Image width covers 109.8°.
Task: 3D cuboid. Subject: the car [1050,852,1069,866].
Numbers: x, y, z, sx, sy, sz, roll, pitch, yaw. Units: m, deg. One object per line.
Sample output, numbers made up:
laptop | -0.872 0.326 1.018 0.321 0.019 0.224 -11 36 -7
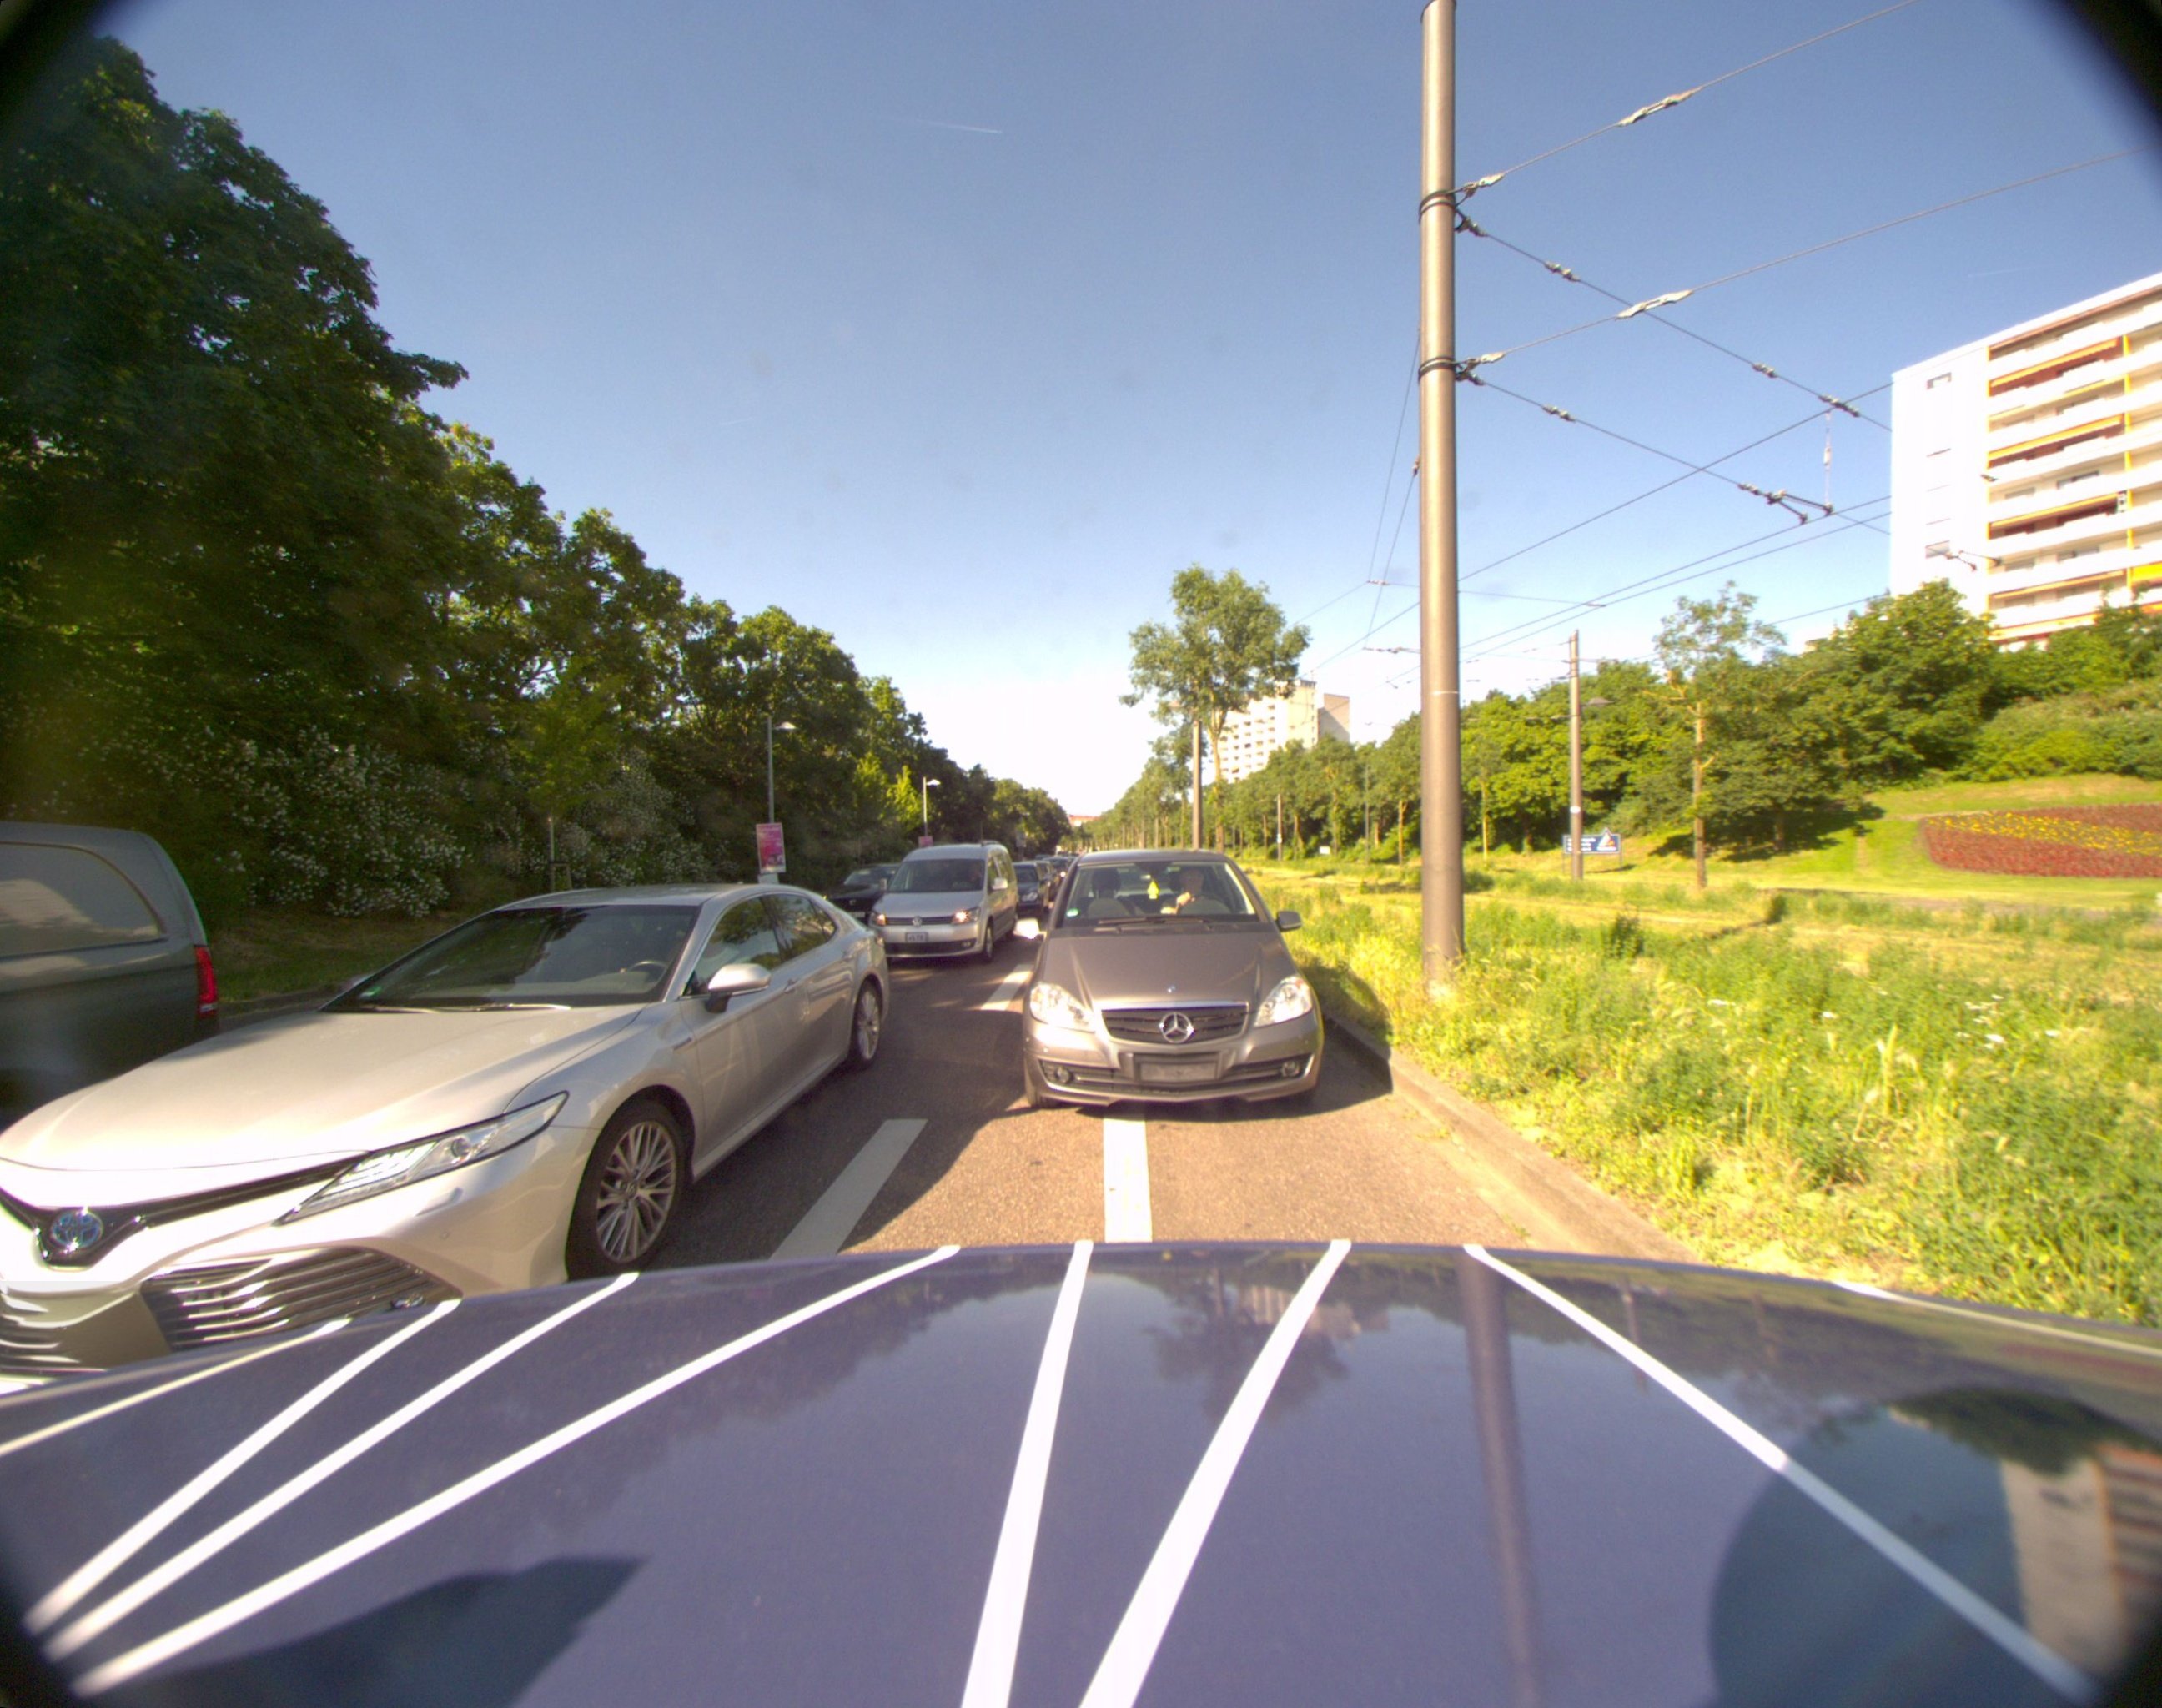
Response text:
car | -2.295 0.520 81.454 1.749 1.427 4.386 -2 1 2

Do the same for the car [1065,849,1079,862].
car | -1.217 0.195 107.846 1.844 1.679 3.999 -2 1 1

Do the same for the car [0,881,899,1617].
car | -2.542 1.009 4.078 1.809 1.484 4.682 -2 0 2

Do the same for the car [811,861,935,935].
car | -5.010 0.993 18.933 1.772 1.499 4.225 -2 1 2

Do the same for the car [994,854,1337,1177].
car | 0.475 0.859 6.009 1.749 1.630 4.000 -2 0 1

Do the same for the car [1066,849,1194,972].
car | 0.719 0.785 12.701 1.749 1.652 3.999 -2 1 1

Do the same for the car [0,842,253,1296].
car | -5.362 0.884 1.453 1.808 1.841 5.103 0 0 3

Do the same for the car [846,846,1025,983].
car | -2.154 0.807 12.620 1.808 1.811 4.587 -2 1 3

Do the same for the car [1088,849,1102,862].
car | 1.744 0.152 93.484 1.685 1.437 3.727 -2 1 2

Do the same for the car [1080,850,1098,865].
car | 0.819 0.350 77.588 1.685 1.437 3.727 -2 1 2

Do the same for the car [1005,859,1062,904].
car | -1.631 0.942 27.347 1.723 1.411 4.050 -1 0 1

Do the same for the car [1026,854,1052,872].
car | -3.361 0.698 61.296 1.713 1.430 4.171 -1 0 1

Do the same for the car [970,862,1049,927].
car | -1.742 0.969 19.761 1.717 1.445 4.197 -1 0 -1

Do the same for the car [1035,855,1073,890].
car | -1.229 0.842 36.066 1.621 1.485 3.452 -2 1 0

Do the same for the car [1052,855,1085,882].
car | -0.684 0.787 43.875 1.713 1.430 4.171 -2 0 1
